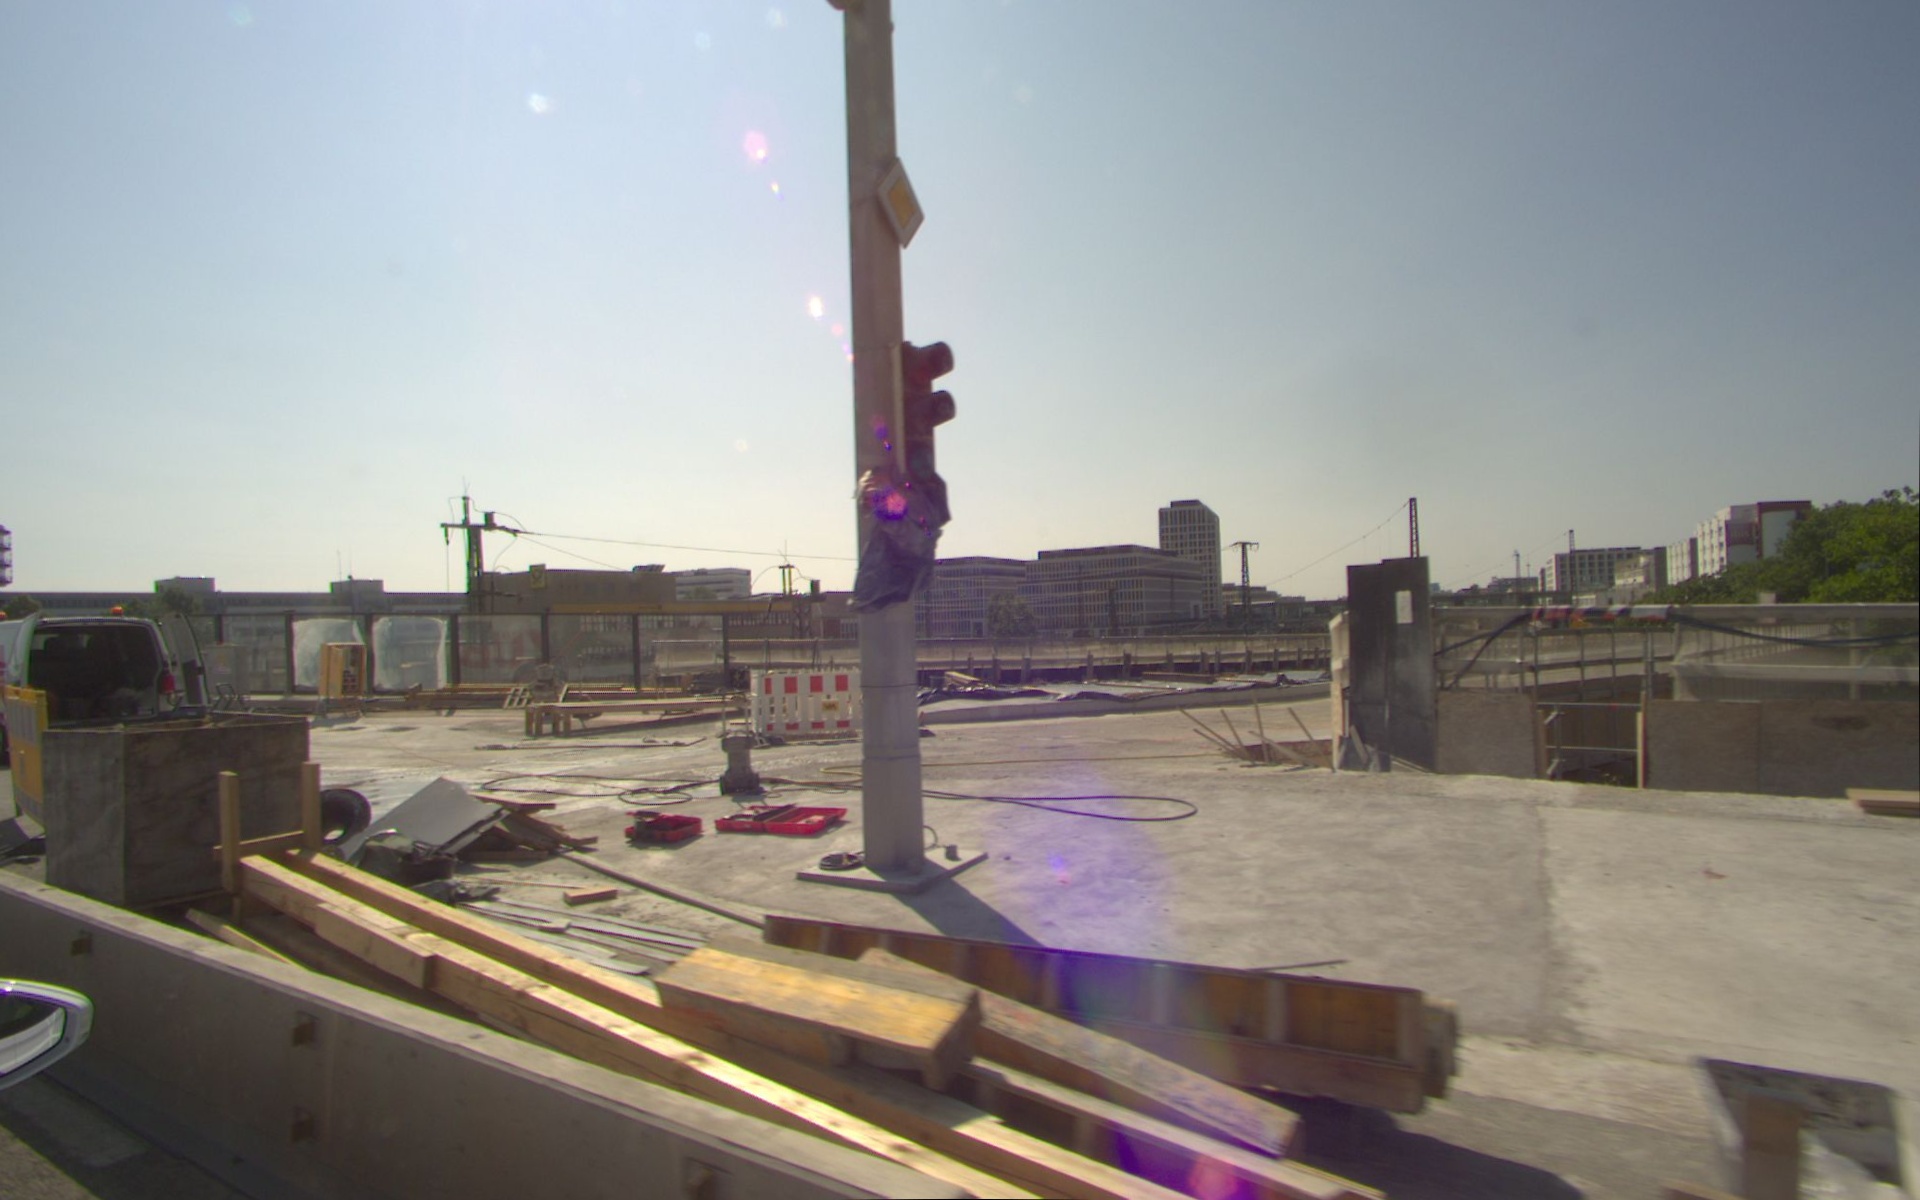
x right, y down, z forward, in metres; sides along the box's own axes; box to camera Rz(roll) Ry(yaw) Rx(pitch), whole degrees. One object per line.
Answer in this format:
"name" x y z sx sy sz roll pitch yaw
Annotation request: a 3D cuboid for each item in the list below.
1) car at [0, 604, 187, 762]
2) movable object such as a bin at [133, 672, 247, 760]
"car" -13.781 1.189 15.140 4.824 2.059 1.874 -3 -2 34
"movable object such as a bin" -10.419 1.557 13.586 0.925 1.088 0.891 -1 -1 -12
